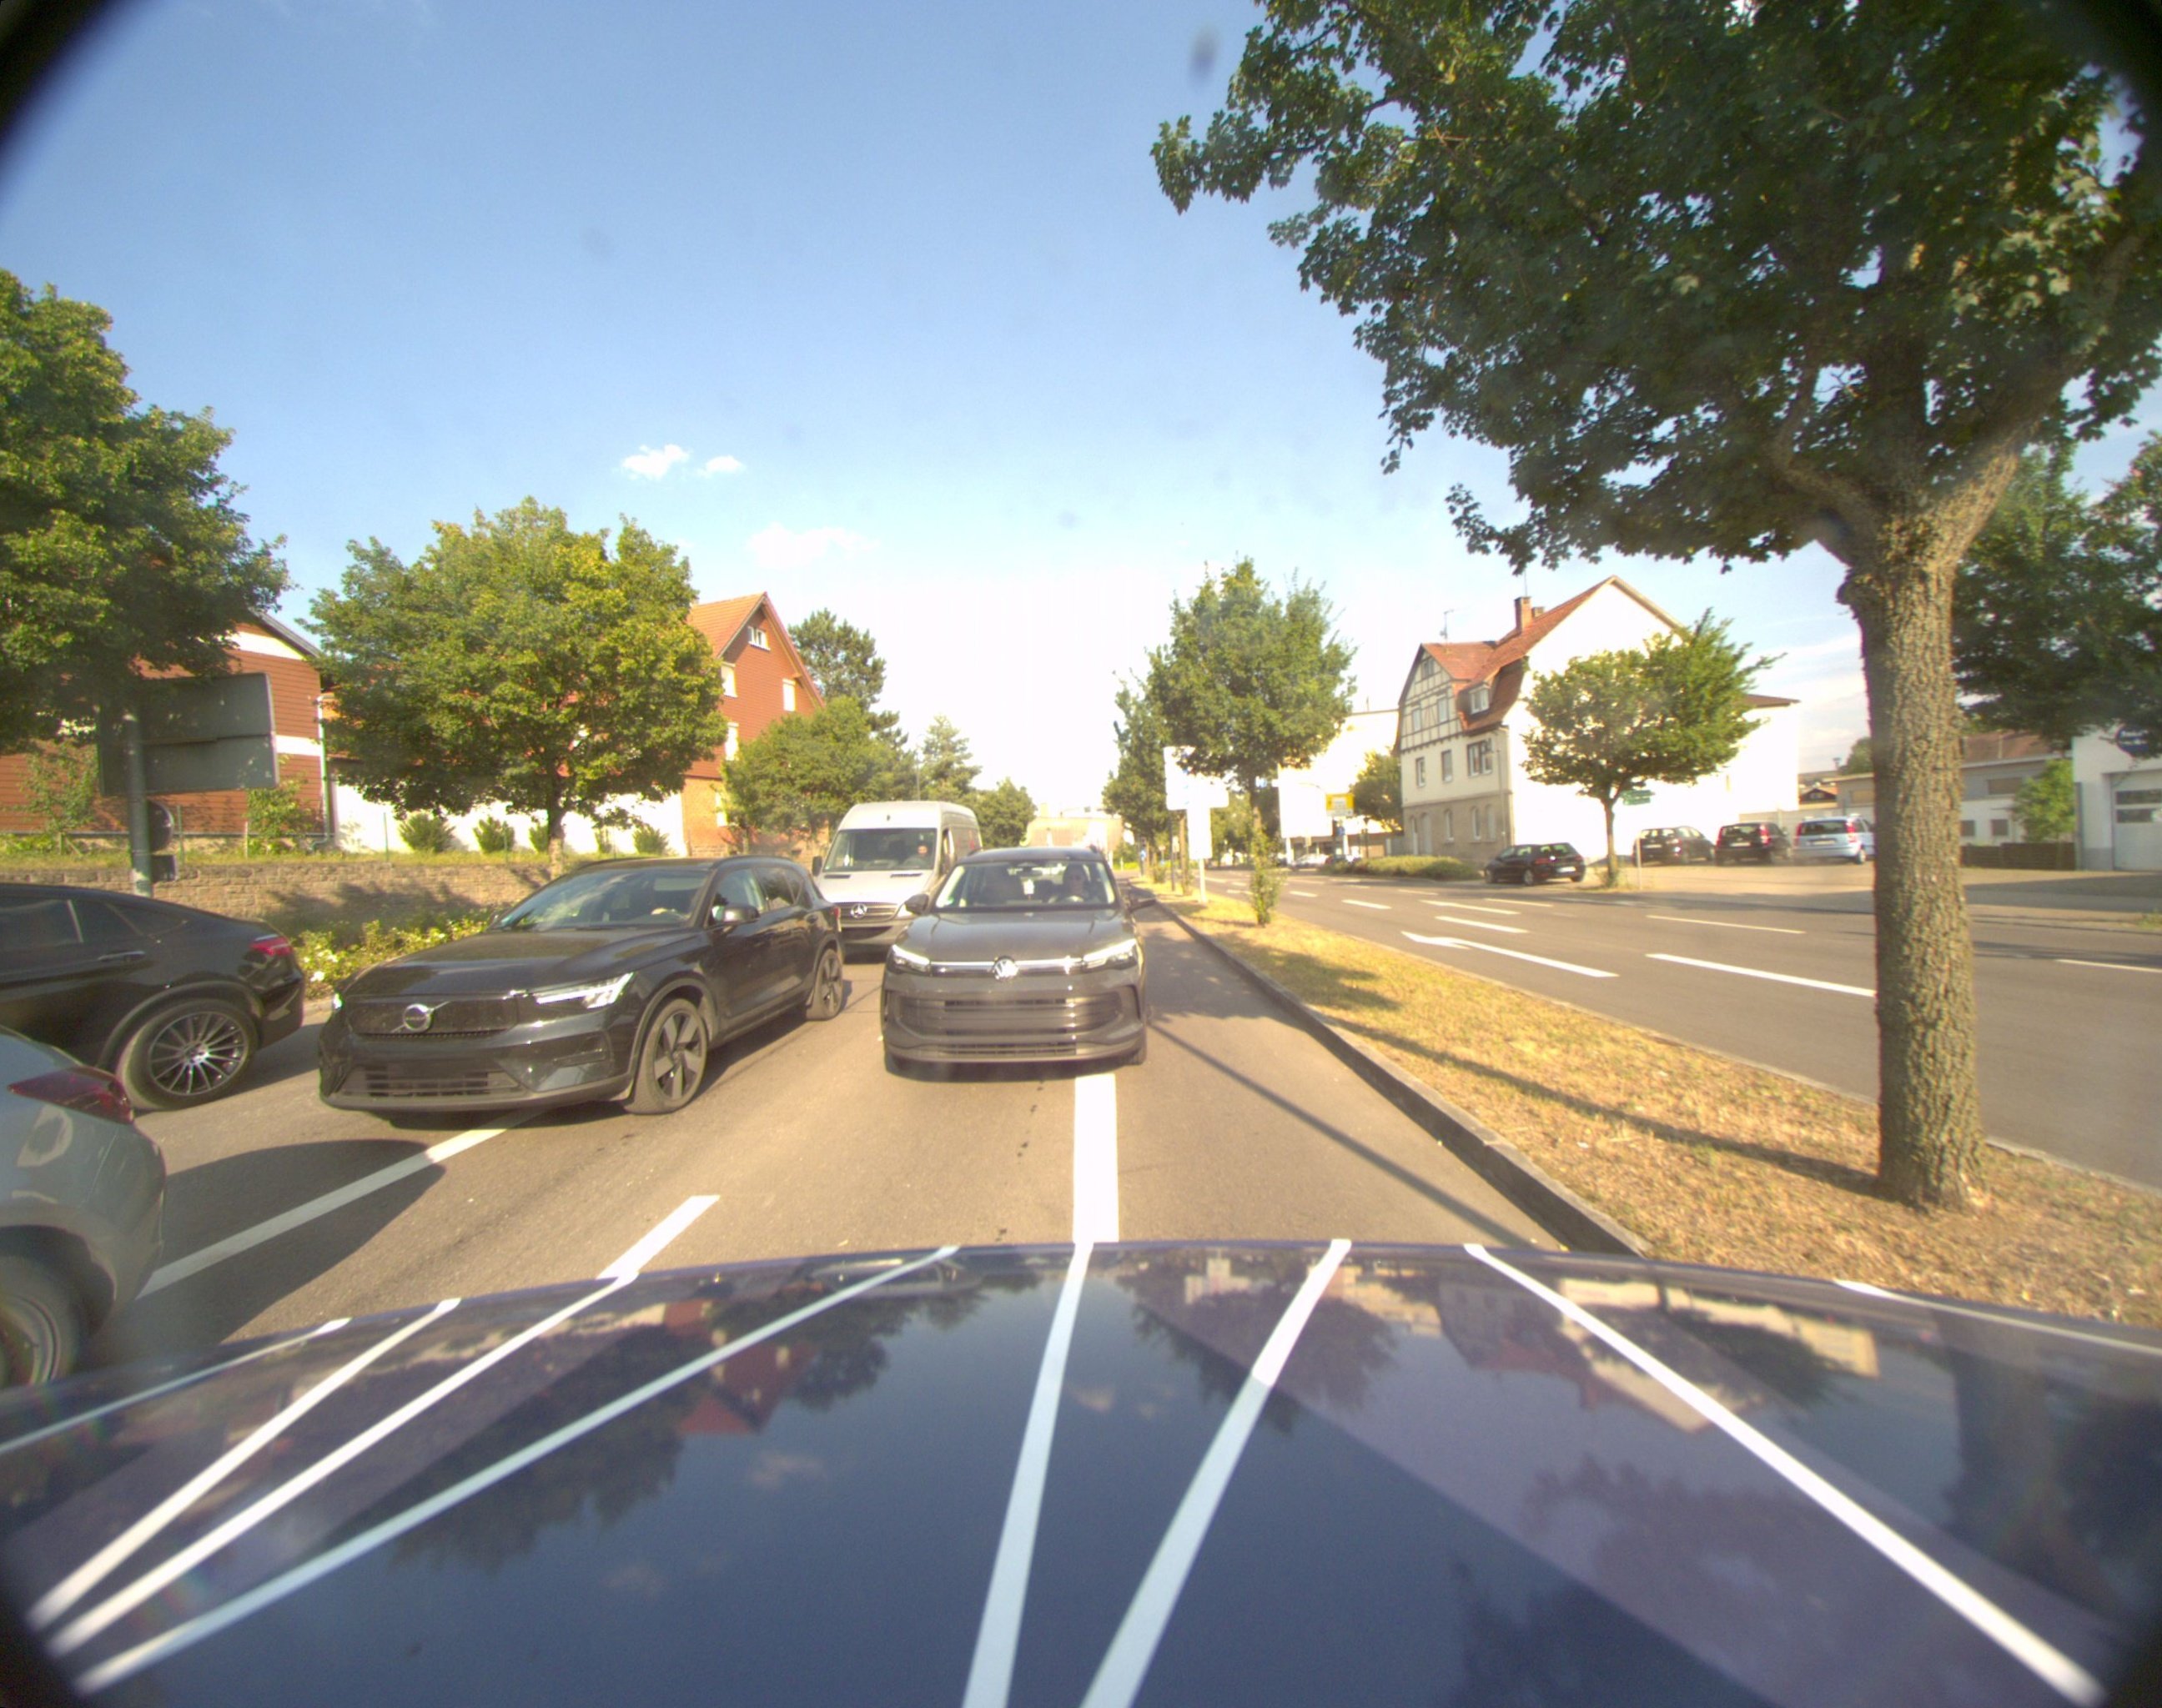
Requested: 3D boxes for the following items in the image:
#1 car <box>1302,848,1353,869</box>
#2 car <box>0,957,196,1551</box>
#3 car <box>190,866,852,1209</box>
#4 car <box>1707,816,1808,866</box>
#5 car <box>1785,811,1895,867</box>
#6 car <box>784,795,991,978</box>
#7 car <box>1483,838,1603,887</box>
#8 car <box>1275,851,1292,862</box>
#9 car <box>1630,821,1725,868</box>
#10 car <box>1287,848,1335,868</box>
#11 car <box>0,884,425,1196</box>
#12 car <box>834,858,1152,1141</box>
[{"bbox_3d":[20.773,0.390,64.185,3.993,1.622,1.862,-2,0,14],"label":"car"},{"bbox_3d":[-3.618,1.057,0.169,1.766,1.445,4.318,-1,0,0],"label":"car"},{"bbox_3d":[-3.418,0.947,5.910,1.845,1.600,4.318,-1,0,2],"label":"car"},{"bbox_3d":[24.650,-0.486,27.646,3.830,1.493,1.816,-5,0,-35],"label":"car"},{"bbox_3d":[24.873,-0.500,24.880,3.830,1.493,1.816,-5,0,-35],"label":"car"},{"bbox_3d":[-3.077,0.450,13.689,1.992,2.554,6.046,-1,0,2],"label":"car"},{"bbox_3d":[16.026,0.282,26.607,1.818,1.442,3.825,-5,0,1],"label":"car"},{"bbox_3d":[35.257,0.442,132.210,1.778,1.683,4.007,-2,0,29],"label":"car"},{"bbox_3d":[23.372,-0.388,29.742,3.830,1.493,1.816,-5,0,-35],"label":"car"},{"bbox_3d":[20.760,0.387,68.665,3.993,1.622,1.862,-2,0,14],"label":"car"},{"bbox_3d":[-6.824,1.091,4.496,1.766,1.599,4.566,-1,0,3],"label":"car"},{"bbox_3d":[-0.457,0.870,6.606,1.845,1.600,4.318,-1,0,2],"label":"car"}]
